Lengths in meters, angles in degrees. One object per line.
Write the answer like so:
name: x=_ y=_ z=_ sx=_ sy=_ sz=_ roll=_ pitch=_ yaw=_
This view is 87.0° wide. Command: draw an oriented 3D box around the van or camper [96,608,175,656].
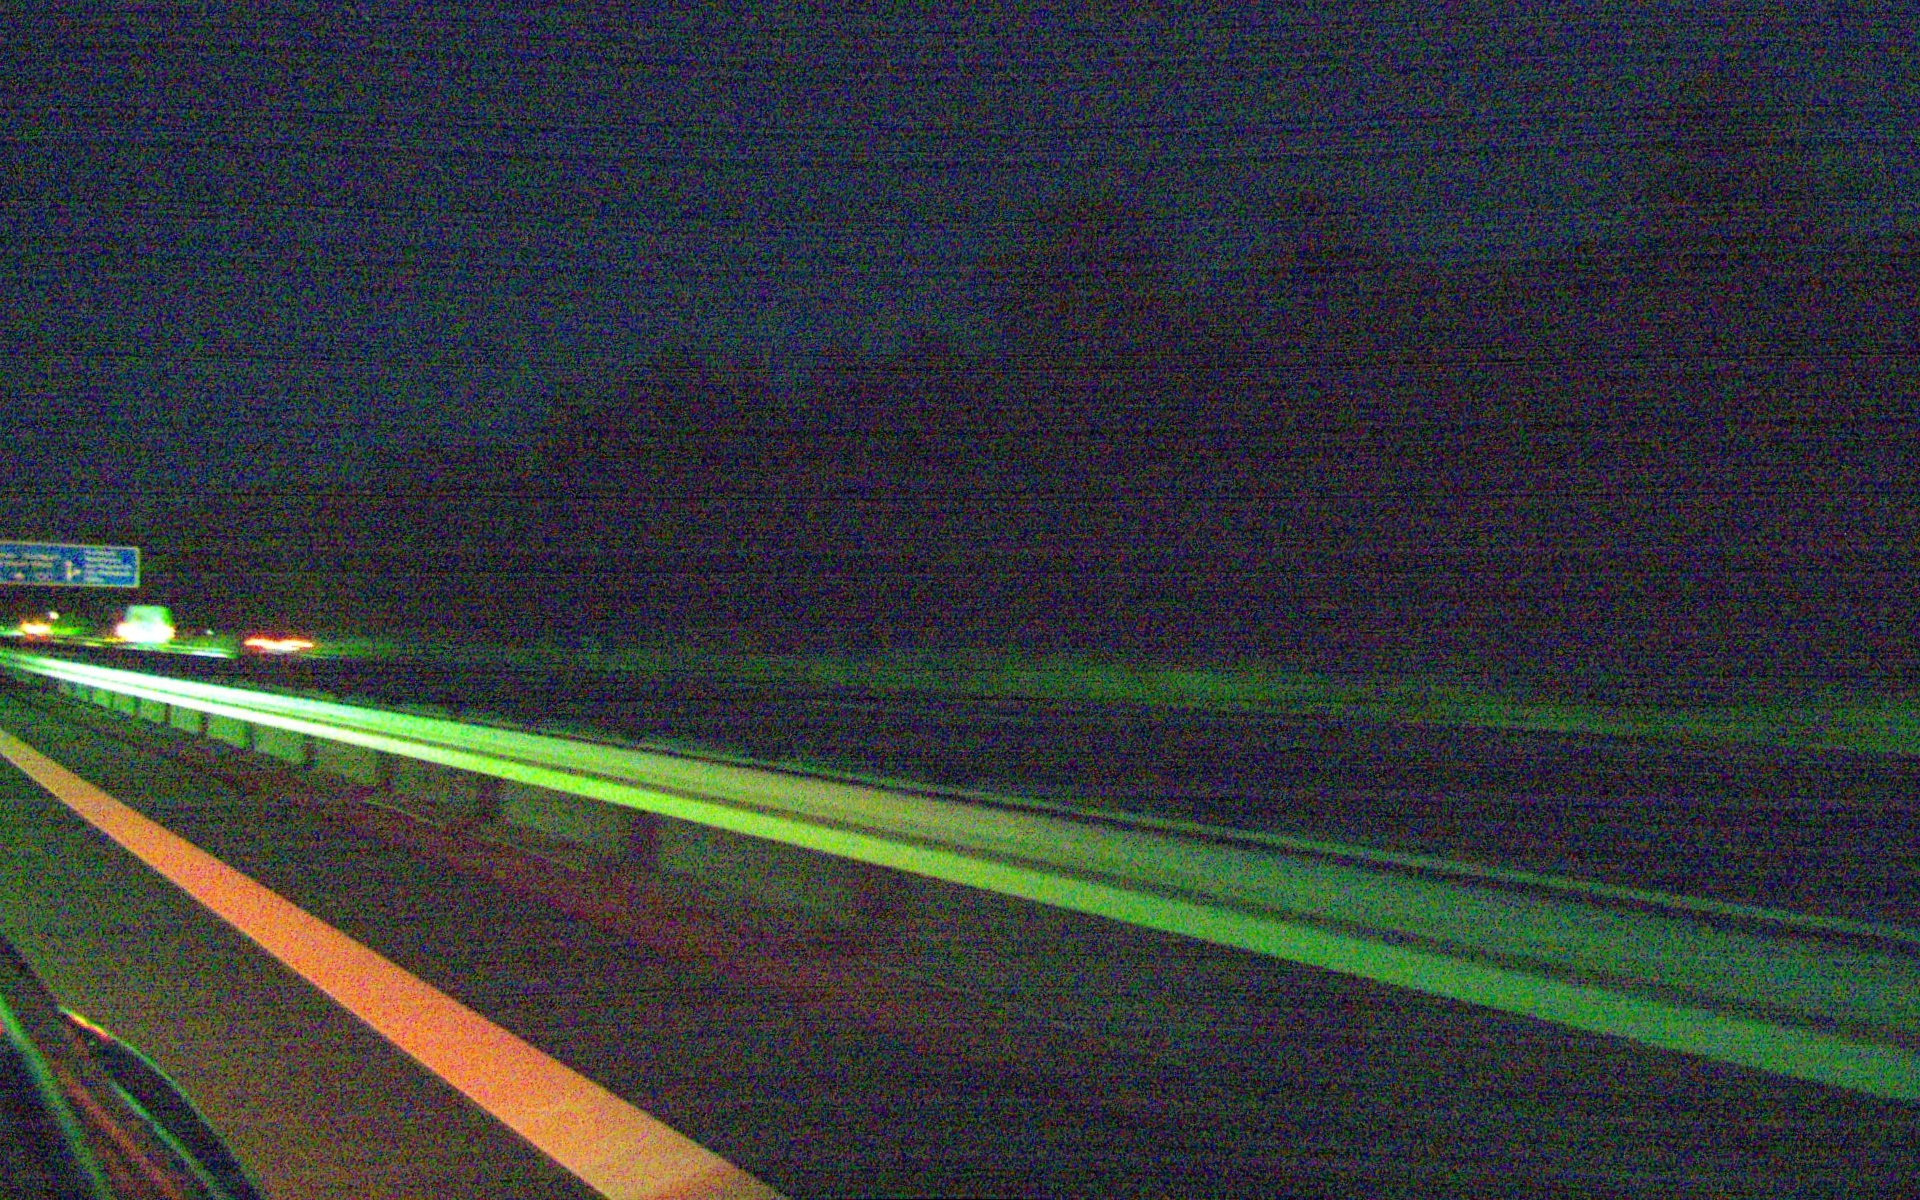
van or camper: x=-49.707 y=1.906 z=60.936 sx=7.774 sy=2.651 sz=2.304 roll=-1 pitch=-4 yaw=42

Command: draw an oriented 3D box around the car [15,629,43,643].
car: x=-108.655 y=4.221 z=118.071 sx=4.549 sy=1.553 sz=1.772 roll=-2 pitch=-6 yaw=41

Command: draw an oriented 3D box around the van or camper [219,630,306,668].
van or camper: x=-29.310 y=2.027 z=42.464 sx=5.100 sy=1.452 sz=1.761 roll=-1 pitch=-5 yaw=41
